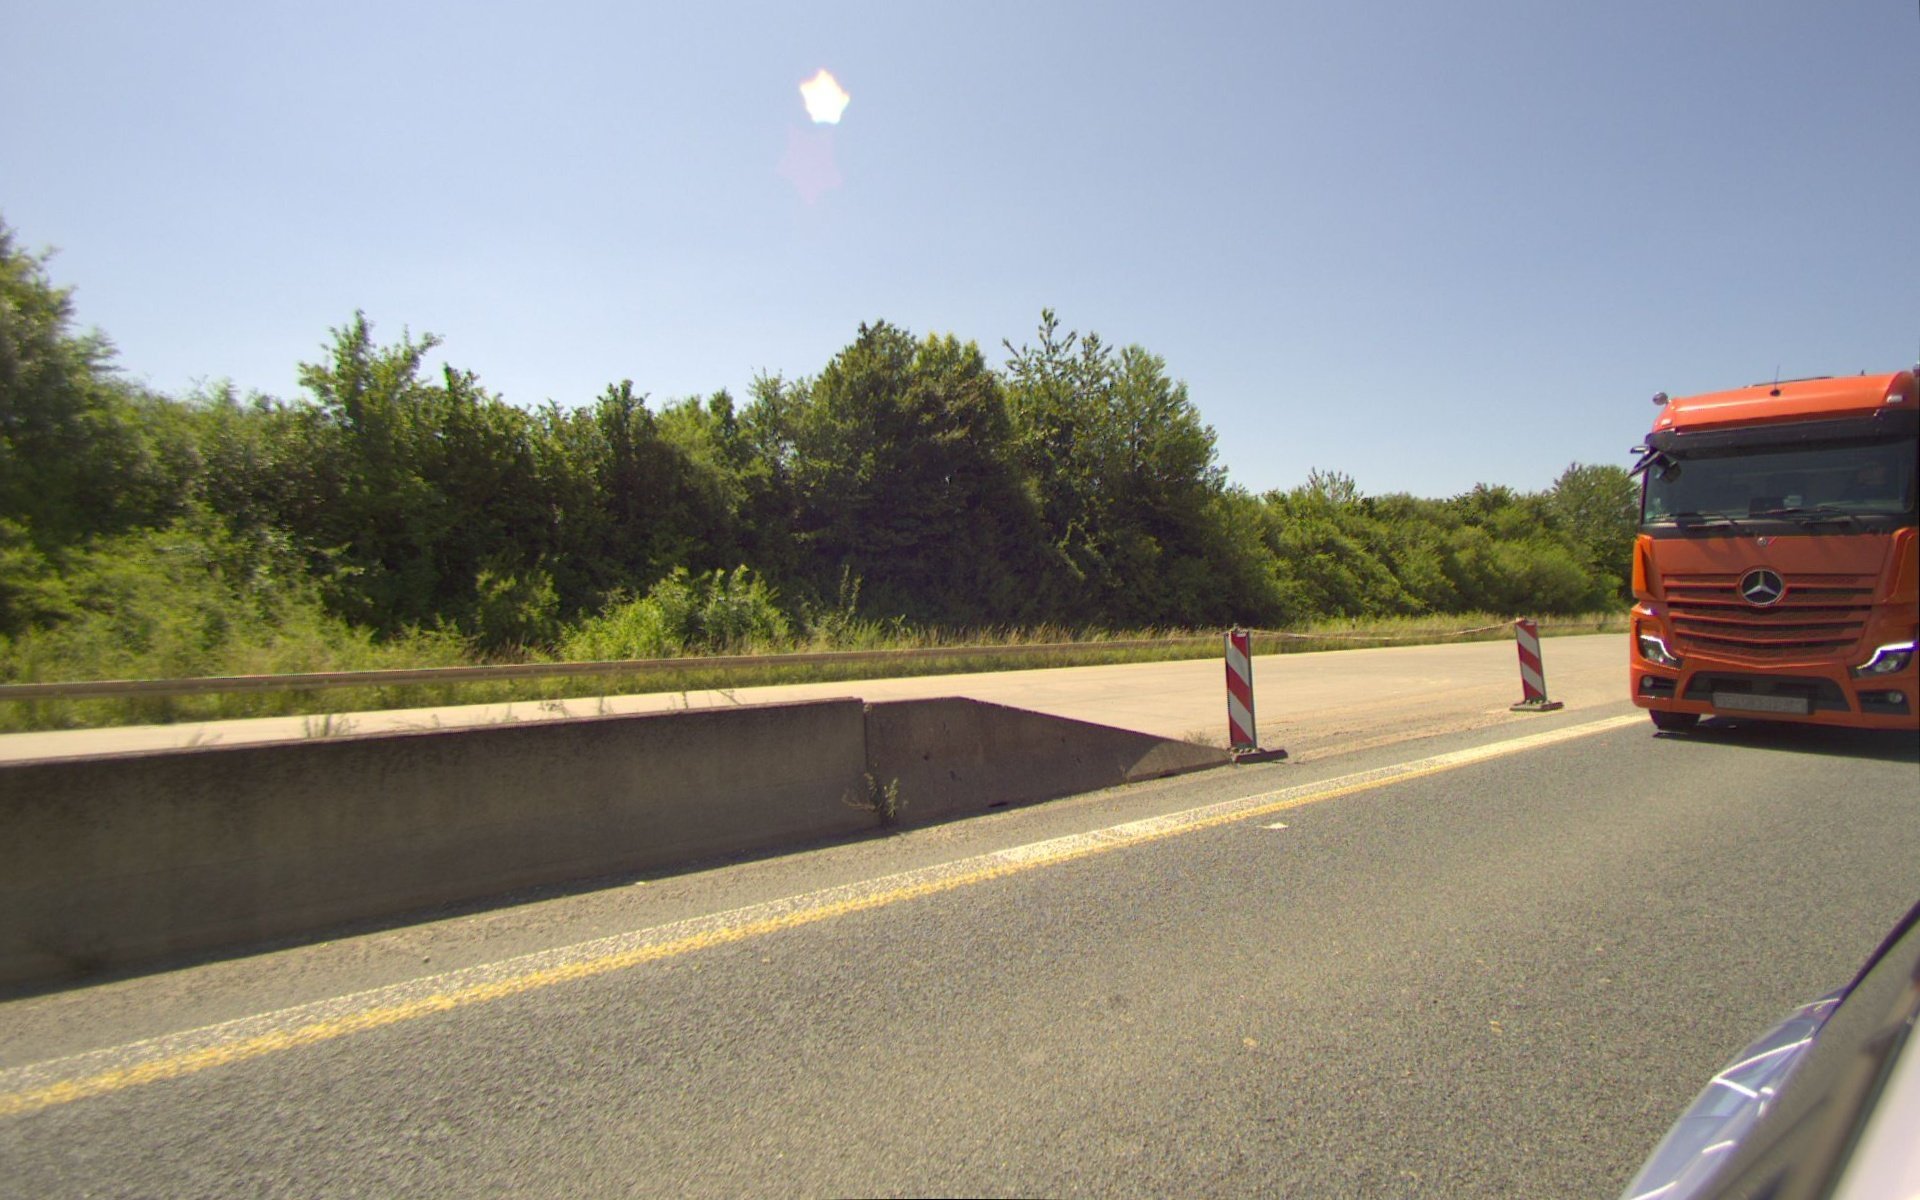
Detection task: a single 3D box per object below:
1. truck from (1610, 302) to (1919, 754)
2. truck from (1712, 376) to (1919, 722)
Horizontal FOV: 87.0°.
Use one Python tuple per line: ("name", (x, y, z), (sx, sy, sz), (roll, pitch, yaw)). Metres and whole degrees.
("truck", (10.435, -0.645, 12.084), (6.606, 4.061, 2.687), (0, 0, -40))
("truck", (15.760, -0.684, 16.589), (12.987, 4.060, 2.687), (-1, 0, -41))
